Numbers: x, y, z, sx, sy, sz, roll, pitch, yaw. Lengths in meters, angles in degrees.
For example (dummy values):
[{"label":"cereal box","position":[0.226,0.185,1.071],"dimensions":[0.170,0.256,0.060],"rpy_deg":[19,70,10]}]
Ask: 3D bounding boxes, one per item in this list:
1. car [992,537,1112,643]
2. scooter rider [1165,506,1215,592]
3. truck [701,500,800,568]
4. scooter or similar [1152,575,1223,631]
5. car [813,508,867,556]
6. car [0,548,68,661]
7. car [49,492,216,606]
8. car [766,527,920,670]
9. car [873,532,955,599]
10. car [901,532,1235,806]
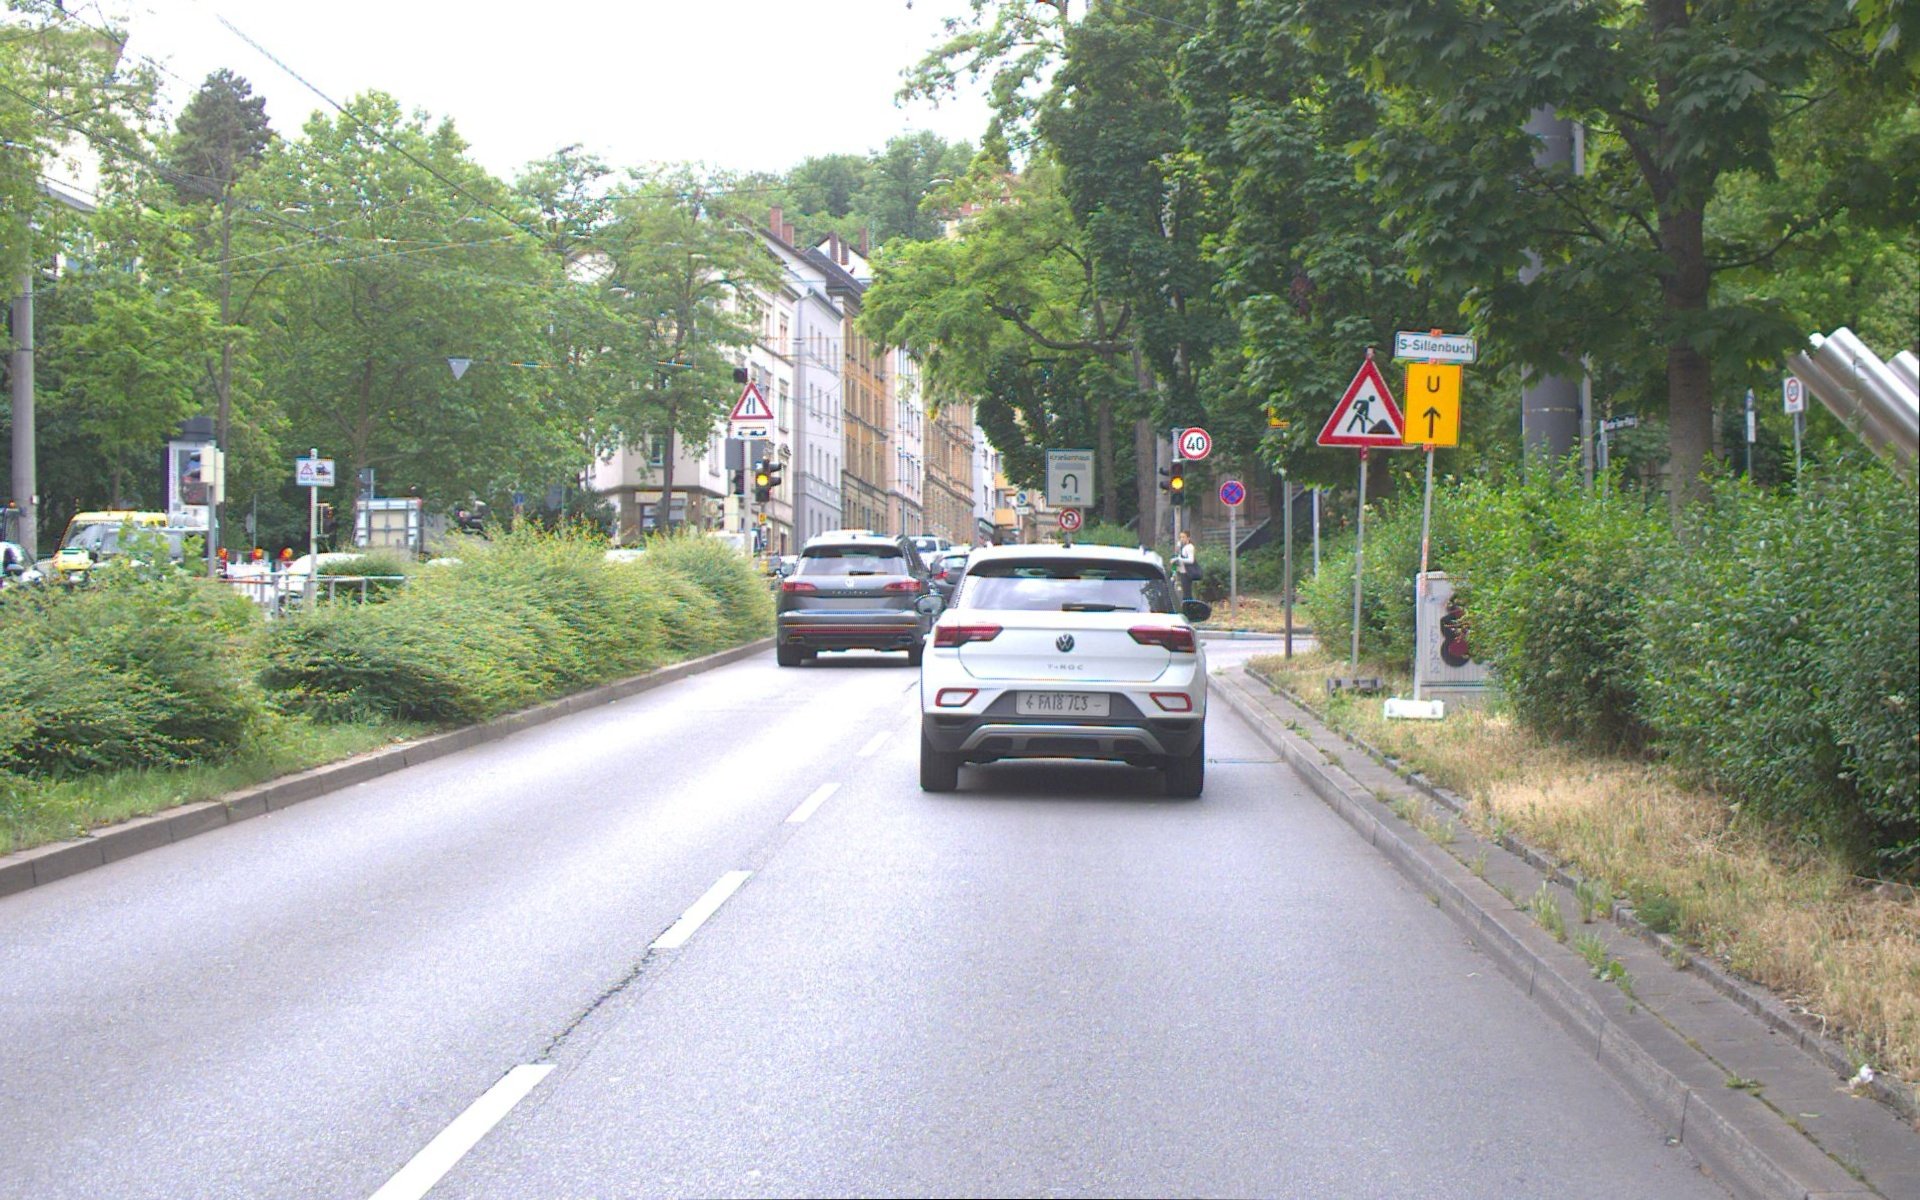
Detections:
[{"label":"car","position":[1.577,-0.139,60.071],"dimensions":[1.993,1.618,3.999],"rpy_deg":[-1,-3,1]},{"label":"scooter rider","position":[4.214,-0.928,62.984],"dimensions":[0.777,1.552,0.532],"rpy_deg":[-1,1,-14]},{"label":"truck","position":[-7.527,-2.402,123.946],"dimensions":[2.422,2.162,6.033],"rpy_deg":[3,3,7]},{"label":"scooter or similar","position":[4.169,0.053,62.987],"dimensions":[1.187,0.991,0.531],"rpy_deg":[-1,1,-14]},{"label":"car","position":[-5.138,-2.914,148.134],"dimensions":[1.994,2.007,4.000],"rpy_deg":[-1,1,2]},{"label":"car","position":[-14.080,0.049,48.316],"dimensions":[1.865,1.549,4.437],"rpy_deg":[1,0,1]},{"label":"car","position":[-14.545,-0.866,60.677],"dimensions":[1.899,1.870,4.643],"rpy_deg":[2,0,-2]},{"label":"car","position":[-1.473,-0.064,44.587],"dimensions":[1.839,1.733,4.000],"rpy_deg":[0,2,0]},{"label":"car","position":[-1.629,-1.280,123.378],"dimensions":[2.422,2.162,6.033],"rpy_deg":[4,1,3]},{"label":"car","position":[0.629,0.406,22.546],"dimensions":[1.938,1.561,4.046],"rpy_deg":[2,0,0]}]
